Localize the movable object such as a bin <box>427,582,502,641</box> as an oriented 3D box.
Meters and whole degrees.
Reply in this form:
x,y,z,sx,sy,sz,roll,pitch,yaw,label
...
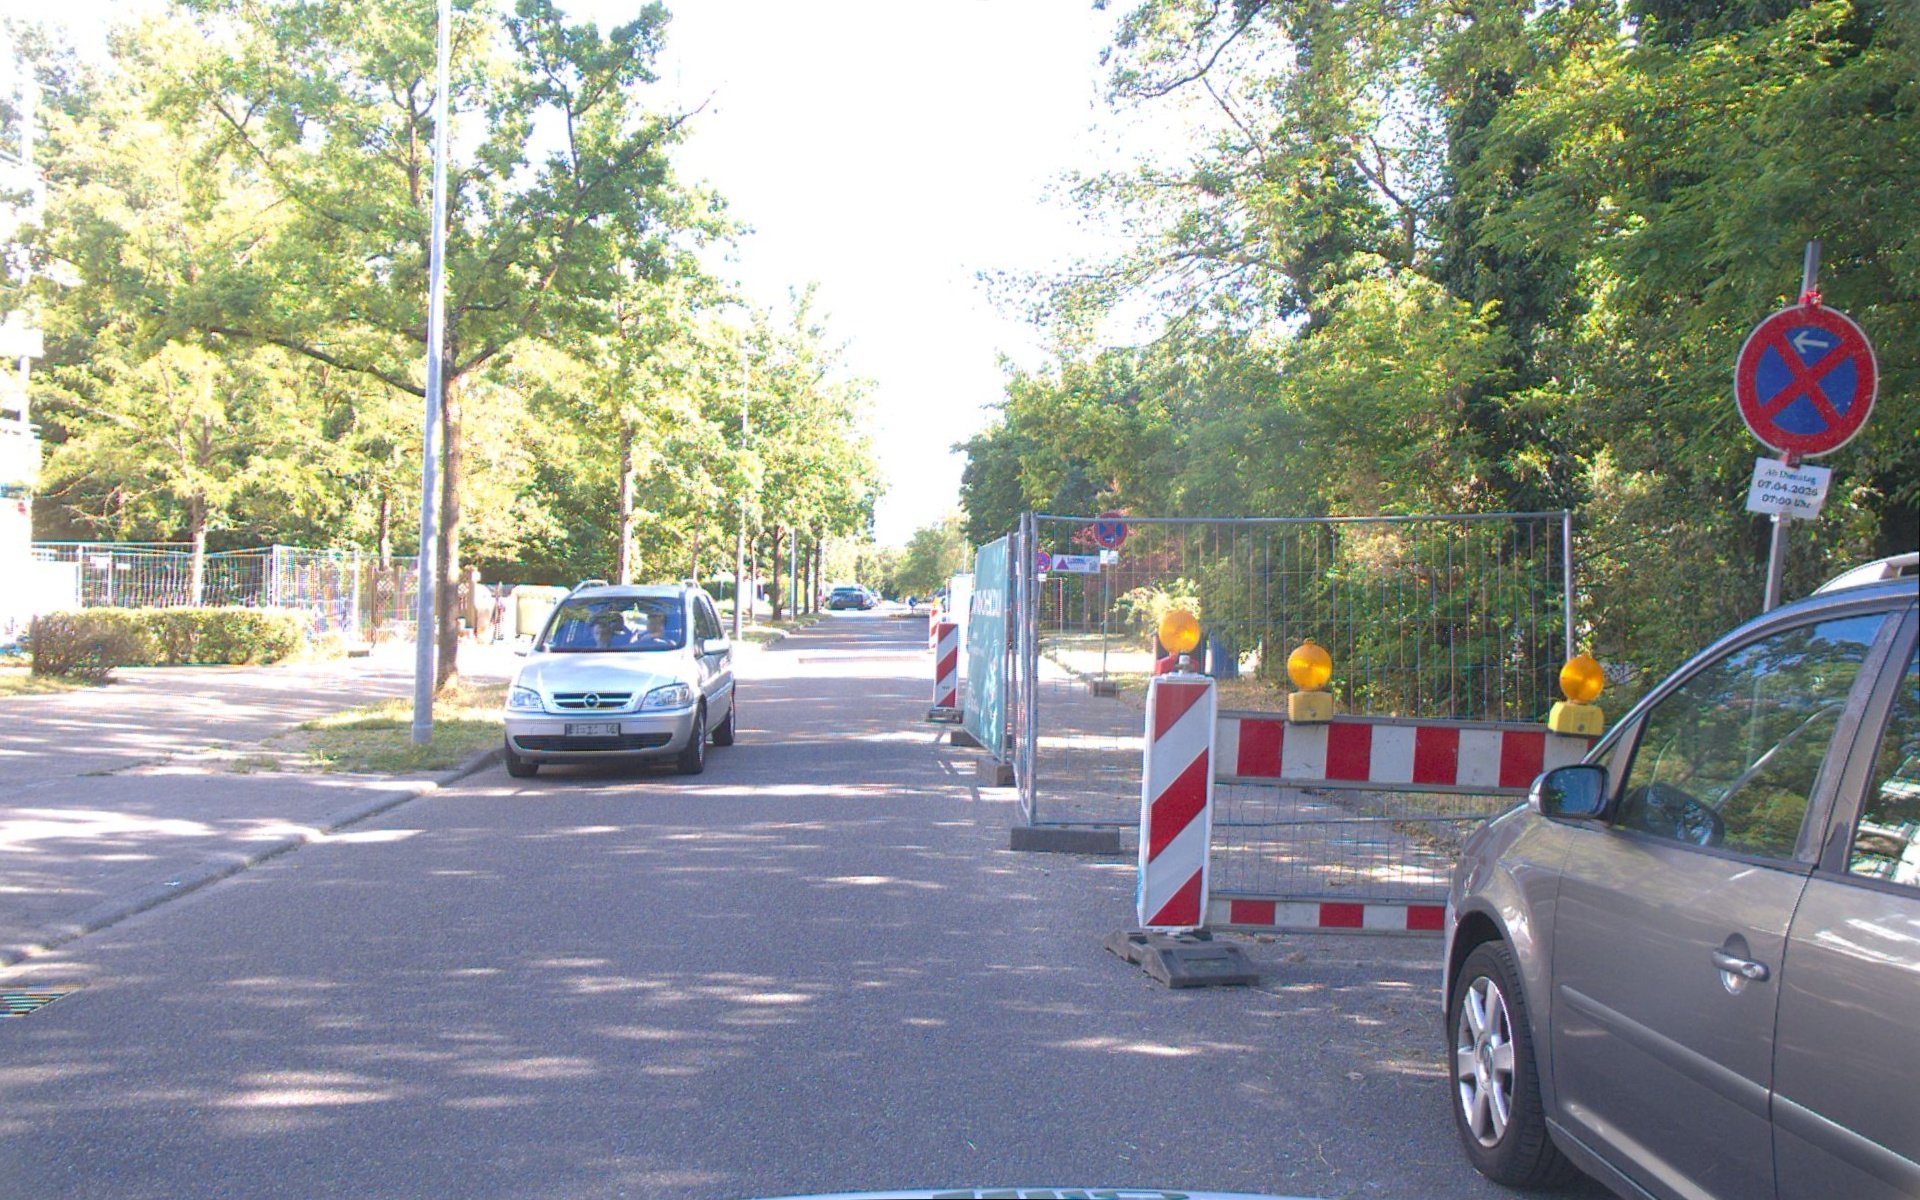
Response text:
x,y,z,sx,sy,sz,roll,pitch,yaw,label
-12.443,0.277,41.526,1.244,1.460,1.324,0,0,26,movable object such as a bin

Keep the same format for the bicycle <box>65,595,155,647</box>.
x,y,z,sx,sy,sz,roll,pitch,yaw,label
-17.451,0.438,33.979,1.659,1.045,0.401,1,-1,4,bicycle

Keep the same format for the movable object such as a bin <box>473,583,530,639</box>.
x,y,z,sx,sy,sz,roll,pitch,yaw,label
-12.314,0.283,44.383,1.132,1.460,1.258,0,0,-35,movable object such as a bin

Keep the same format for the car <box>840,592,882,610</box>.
x,y,z,sx,sy,sz,roll,pitch,yaw,label
-9.793,0.089,163.891,4.022,1.604,1.958,2,0,0,car

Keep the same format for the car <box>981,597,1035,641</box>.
x,y,z,sx,sy,sz,roll,pitch,yaw,label
1.653,0.646,58.242,1.628,1.399,4.153,2,0,-2,car

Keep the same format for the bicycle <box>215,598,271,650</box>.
x,y,z,sx,sy,sz,roll,pitch,yaw,label
-14.927,0.495,34.461,0.391,1.045,1.700,1,-1,1,bicycle

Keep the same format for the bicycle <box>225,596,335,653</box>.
x,y,z,sx,sy,sz,roll,pitch,yaw,label
-12.638,0.458,30.785,1.837,1.045,0.399,1,-1,-15,bicycle

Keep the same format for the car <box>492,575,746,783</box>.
x,y,z,sx,sy,sz,roll,pitch,yaw,label
-3.020,0.633,15.414,1.626,1.624,4.006,-2,0,-2,car

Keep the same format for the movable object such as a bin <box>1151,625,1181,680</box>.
x,y,z,sx,sy,sz,roll,pitch,yaw,label
3.439,0.872,27.639,0.404,0.885,0.484,-1,0,-1,movable object such as a bin

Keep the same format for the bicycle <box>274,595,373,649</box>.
x,y,z,sx,sy,sz,roll,pitch,yaw,label
-12.720,0.446,33.092,1.807,1.045,0.399,1,-1,-15,bicycle

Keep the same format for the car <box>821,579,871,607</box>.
x,y,z,sx,sy,sz,roll,pitch,yaw,label
-11.925,-0.730,172.776,5.100,2.666,2.290,2,0,-7,car

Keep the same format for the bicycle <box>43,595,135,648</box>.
x,y,z,sx,sy,sz,roll,pitch,yaw,label
-17.539,0.438,33.300,1.659,1.045,0.401,1,-1,4,bicycle

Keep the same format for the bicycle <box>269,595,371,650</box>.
x,y,z,sx,sy,sz,roll,pitch,yaw,label
-12.637,0.448,32.673,1.828,1.045,0.399,1,-1,-15,bicycle

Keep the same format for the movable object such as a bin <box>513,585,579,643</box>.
x,y,z,sx,sy,sz,roll,pitch,yaw,label
-10.689,0.358,42.720,1.242,1.460,1.182,0,0,15,movable object such as a bin

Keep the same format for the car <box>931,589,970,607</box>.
x,y,z,sx,sy,sz,roll,pitch,yaw,label
-0.926,-0.188,168.765,3.758,1.604,1.689,2,0,5,car

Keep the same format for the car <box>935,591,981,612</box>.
x,y,z,sx,sy,sz,roll,pitch,yaw,label
-0.152,0.149,143.349,3.758,1.604,1.689,2,0,5,car

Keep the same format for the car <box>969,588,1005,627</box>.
x,y,z,sx,sy,sz,roll,pitch,yaw,label
1.311,0.362,82.805,1.590,1.804,3.668,2,0,-1,car

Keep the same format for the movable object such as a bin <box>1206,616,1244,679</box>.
x,y,z,sx,sy,sz,roll,pitch,yaw,label
4.427,0.785,27.656,0.508,1.017,0.608,-1,0,-1,movable object such as a bin

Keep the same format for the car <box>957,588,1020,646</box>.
x,y,z,sx,sy,sz,roll,pitch,yaw,label
0.930,0.504,51.528,1.772,1.680,4.422,2,0,2,car

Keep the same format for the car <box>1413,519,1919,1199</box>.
x,y,z,sx,sy,sz,roll,pitch,yaw,label
2.325,0.717,3.079,1.645,1.650,4.135,2,0,-2,car

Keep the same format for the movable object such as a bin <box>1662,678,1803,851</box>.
x,y,z,sx,sy,sz,roll,pitch,yaw,label
4.183,0.880,8.979,0.474,0.876,0.559,1,0,-4,movable object such as a bin

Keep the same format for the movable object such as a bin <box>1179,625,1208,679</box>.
x,y,z,sx,sy,sz,roll,pitch,yaw,label
3.918,0.862,27.743,0.404,0.885,0.484,-1,0,-1,movable object such as a bin

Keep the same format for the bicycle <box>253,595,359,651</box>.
x,y,z,sx,sy,sz,roll,pitch,yaw,label
-12.530,0.441,31.731,1.824,1.045,0.399,1,-1,-15,bicycle
